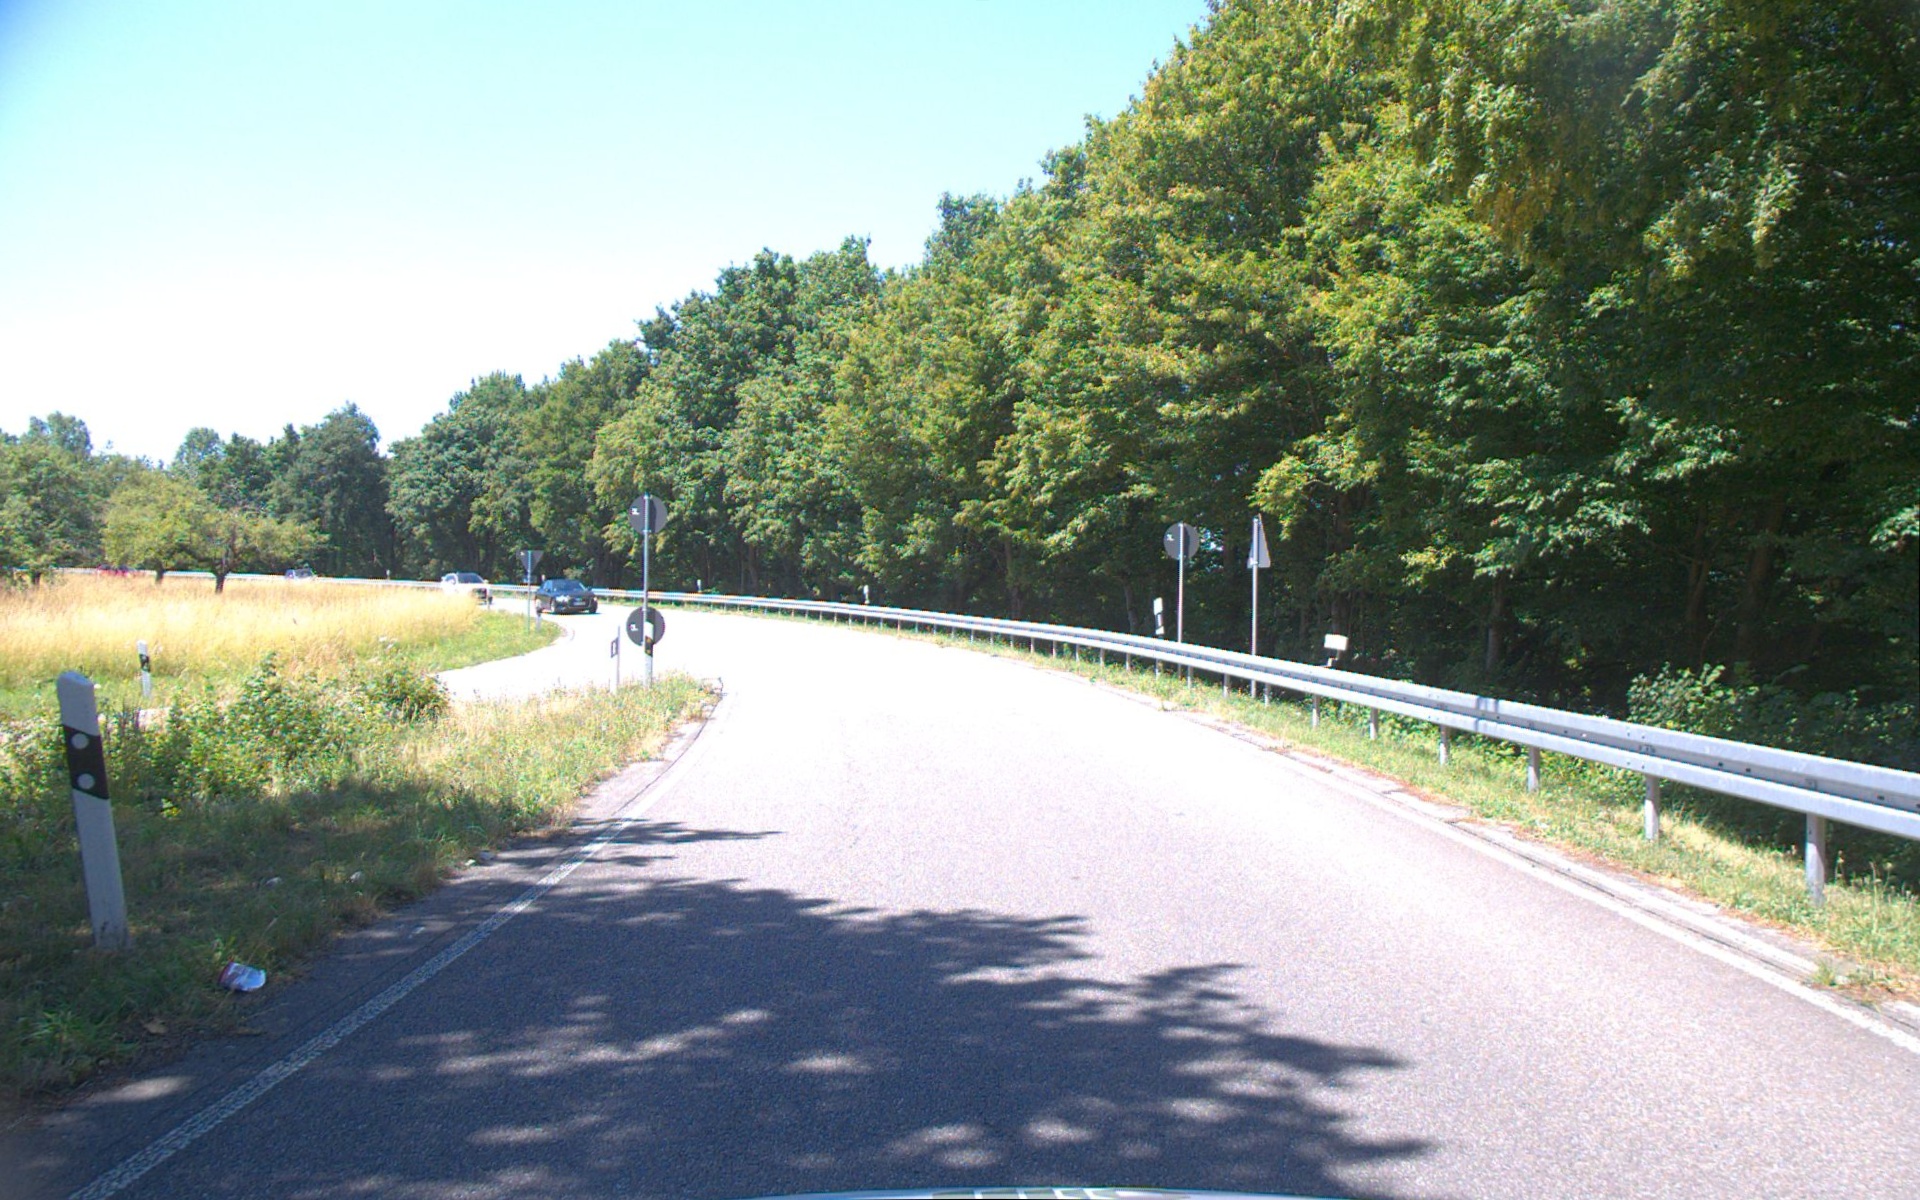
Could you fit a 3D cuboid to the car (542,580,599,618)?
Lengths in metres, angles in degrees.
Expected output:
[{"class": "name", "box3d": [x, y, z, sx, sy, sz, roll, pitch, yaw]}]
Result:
[{"class": "car", "box3d": [-16.836, -0.034, 71.336, 1.777, 1.533, 4.629, -2, 1, -21]}]

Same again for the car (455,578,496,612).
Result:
[{"class": "car", "box3d": [-25.499, -0.264, 87.044, 1.795, 1.618, 4.194, -4, 1, -19]}]
